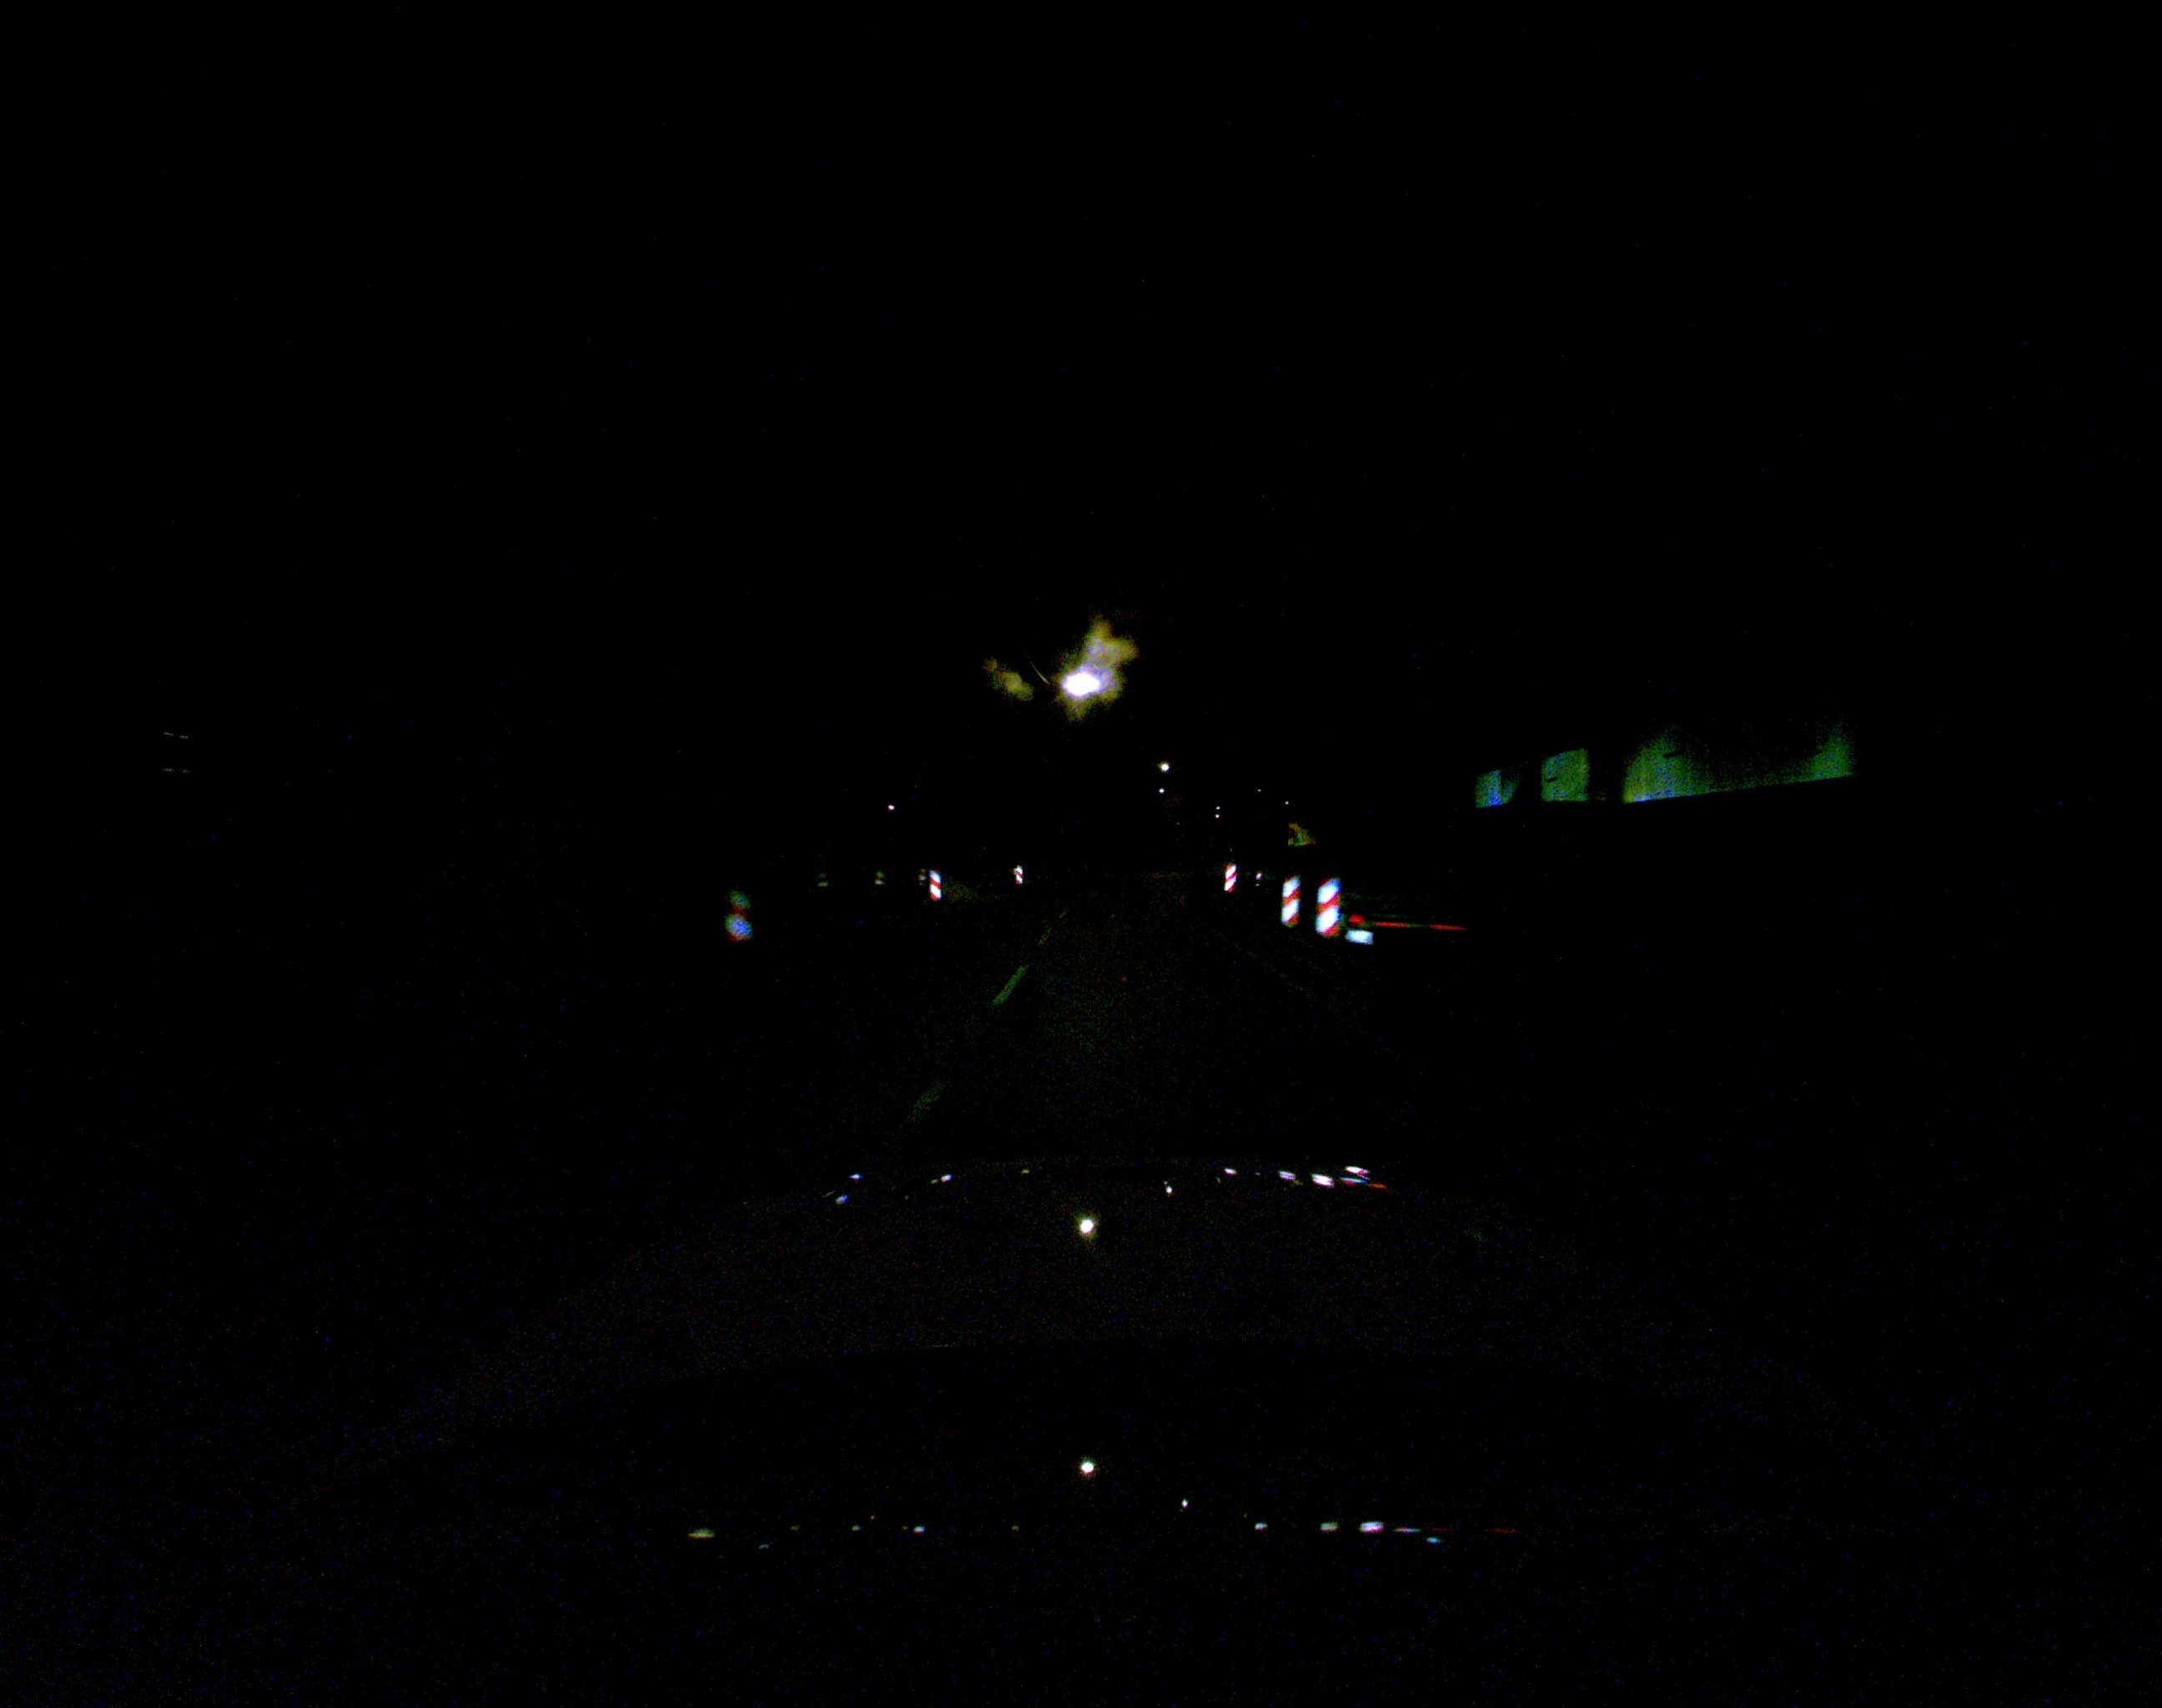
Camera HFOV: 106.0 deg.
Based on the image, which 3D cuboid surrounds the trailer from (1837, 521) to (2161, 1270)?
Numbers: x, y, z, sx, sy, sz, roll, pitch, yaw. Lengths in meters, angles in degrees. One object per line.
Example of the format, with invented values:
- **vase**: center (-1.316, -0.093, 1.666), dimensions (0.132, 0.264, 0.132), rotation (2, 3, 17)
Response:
- **trailer**: center (5.439, 0.158, 2.093), dimensions (2.606, 2.846, 4.705), rotation (1, -1, -2)

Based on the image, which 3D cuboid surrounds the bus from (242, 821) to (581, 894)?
- **bus**: center (-31.369, 0.111, 39.288), dimensions (2.915, 2.982, 12.352), rotation (0, 0, 31)

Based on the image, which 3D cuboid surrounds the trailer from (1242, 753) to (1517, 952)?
- **trailer**: center (5.427, 0.024, 15.891), dimensions (3.472, 3.219, 4.861), rotation (1, -1, -2)

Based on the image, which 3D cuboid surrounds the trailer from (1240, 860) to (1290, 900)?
- **trailer**: center (7.018, 0.968, 31.374), dimensions (1.238, 1.434, 3.729), rotation (0, 0, 2)

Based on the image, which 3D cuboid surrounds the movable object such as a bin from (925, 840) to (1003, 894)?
- **movable object such as a bin**: center (-5.414, 0.600, 38.473), dimensions (1.979, 2.376, 4.719), rotation (-1, -1, 14)

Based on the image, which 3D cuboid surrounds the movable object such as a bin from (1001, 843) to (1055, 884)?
- **movable object such as a bin**: center (-3.192, 0.592, 50.439), dimensions (1.979, 2.376, 4.719), rotation (-1, -1, 14)
